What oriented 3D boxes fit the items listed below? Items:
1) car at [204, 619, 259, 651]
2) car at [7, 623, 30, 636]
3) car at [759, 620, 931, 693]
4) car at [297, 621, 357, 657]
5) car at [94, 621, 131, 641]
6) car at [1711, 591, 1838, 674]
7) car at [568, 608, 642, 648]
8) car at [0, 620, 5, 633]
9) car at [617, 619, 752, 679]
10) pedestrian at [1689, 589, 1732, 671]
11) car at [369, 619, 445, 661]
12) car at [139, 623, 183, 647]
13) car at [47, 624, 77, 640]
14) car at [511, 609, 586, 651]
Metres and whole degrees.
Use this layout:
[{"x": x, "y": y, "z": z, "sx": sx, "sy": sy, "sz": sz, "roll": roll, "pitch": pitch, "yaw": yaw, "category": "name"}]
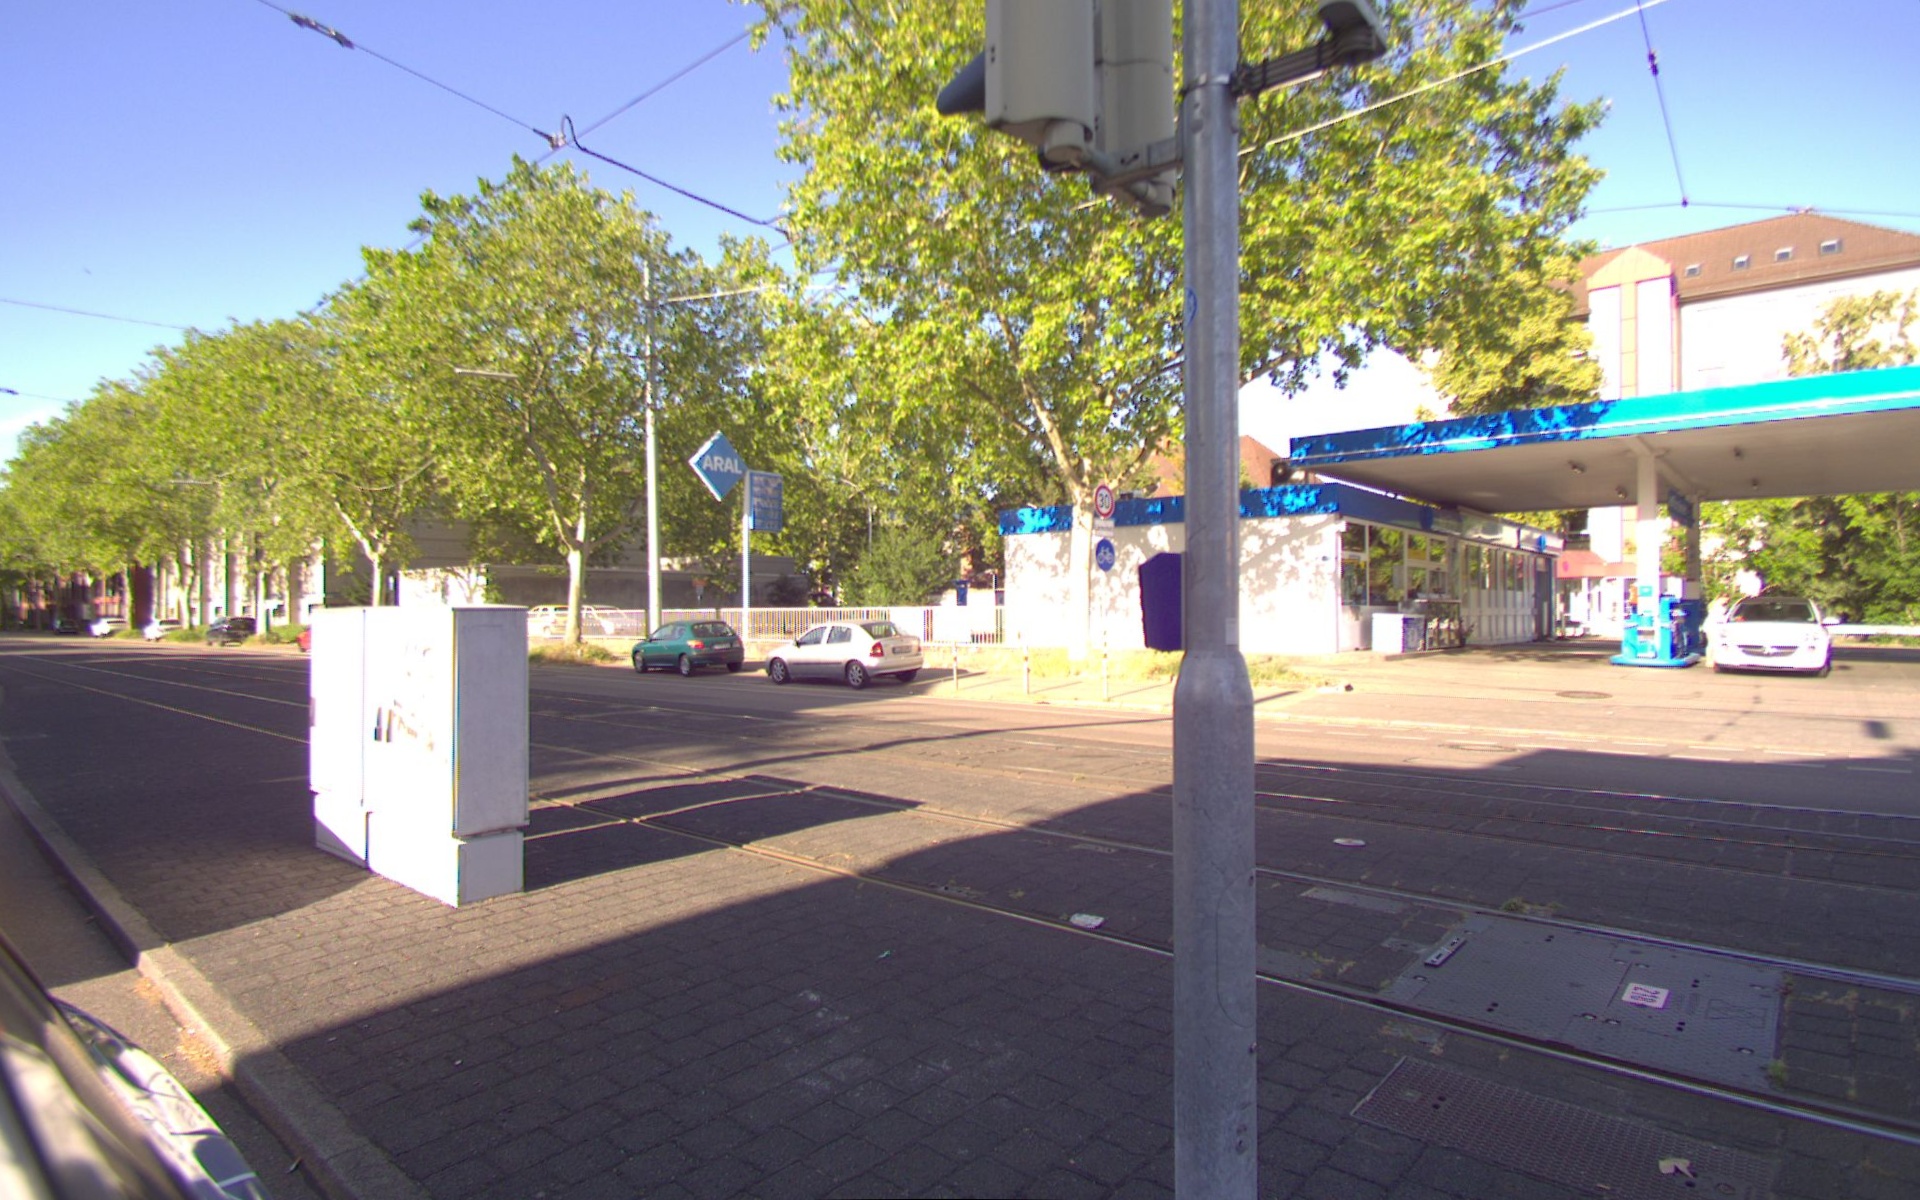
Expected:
[{"x": -40.665, "y": 1.931, "z": 56.454, "sx": 3.748, "sy": 1.670, "sz": 1.674, "roll": -1, "pitch": 1, "yaw": 41, "category": "car"}, {"x": -112.124, "y": 3.546, "z": 120.510, "sx": 3.748, "sy": 1.459, "sz": 1.674, "roll": -1, "pitch": 1, "yaw": 41, "category": "car"}, {"x": -2.627, "y": 1.201, "z": 22.642, "sx": 3.812, "sy": 1.413, "sz": 1.674, "roll": -1, "pitch": 1, "yaw": 41, "category": "car"}, {"x": -28.676, "y": 1.748, "z": 45.831, "sx": 2.621, "sy": 1.519, "sz": 1.579, "roll": -1, "pitch": 1, "yaw": 41, "category": "car"}, {"x": -66.666, "y": 2.435, "z": 79.609, "sx": 3.748, "sy": 1.459, "sz": 1.674, "roll": -1, "pitch": 1, "yaw": 41, "category": "car"}, {"x": 15.895, "y": 0.607, "z": 19.694, "sx": 1.757, "sy": 1.453, "sz": 3.521, "roll": -1, "pitch": -1, "yaw": 41, "category": "car"}, {"x": -15.255, "y": 1.189, "z": 43.447, "sx": 3.303, "sy": 1.604, "sz": 1.579, "roll": -1, "pitch": 0, "yaw": 41, "category": "car"}, {"x": -133.915, "y": 3.658, "z": 140.478, "sx": 3.748, "sy": 1.798, "sz": 1.674, "roll": -1, "pitch": 1, "yaw": 41, "category": "car"}, {"x": -7.391, "y": 1.261, "z": 26.971, "sx": 3.748, "sy": 1.413, "sz": 1.674, "roll": -1, "pitch": 1, "yaw": 41, "category": "car"}, {"x": 15.984, "y": 0.641, "z": 21.562, "sx": 0.493, "sy": 1.714, "sz": 0.649, "roll": 1, "pitch": -2, "yaw": -45, "category": "pedestrian"}, {"x": -21.866, "y": 1.551, "z": 40.003, "sx": 3.303, "sy": 1.519, "sz": 1.579, "roll": -1, "pitch": 1, "yaw": 41, "category": "car"}, {"x": -53.849, "y": 2.332, "z": 68.180, "sx": 3.748, "sy": 1.459, "sz": 1.674, "roll": -1, "pitch": 1, "yaw": 41, "category": "car"}, {"x": -85.226, "y": 3.016, "z": 96.047, "sx": 3.748, "sy": 1.459, "sz": 1.674, "roll": -1, "pitch": 1, "yaw": 41, "category": "car"}, {"x": -17.074, "y": 1.224, "z": 41.970, "sx": 3.303, "sy": 1.628, "sz": 1.579, "roll": -1, "pitch": 0, "yaw": 41, "category": "car"}]
